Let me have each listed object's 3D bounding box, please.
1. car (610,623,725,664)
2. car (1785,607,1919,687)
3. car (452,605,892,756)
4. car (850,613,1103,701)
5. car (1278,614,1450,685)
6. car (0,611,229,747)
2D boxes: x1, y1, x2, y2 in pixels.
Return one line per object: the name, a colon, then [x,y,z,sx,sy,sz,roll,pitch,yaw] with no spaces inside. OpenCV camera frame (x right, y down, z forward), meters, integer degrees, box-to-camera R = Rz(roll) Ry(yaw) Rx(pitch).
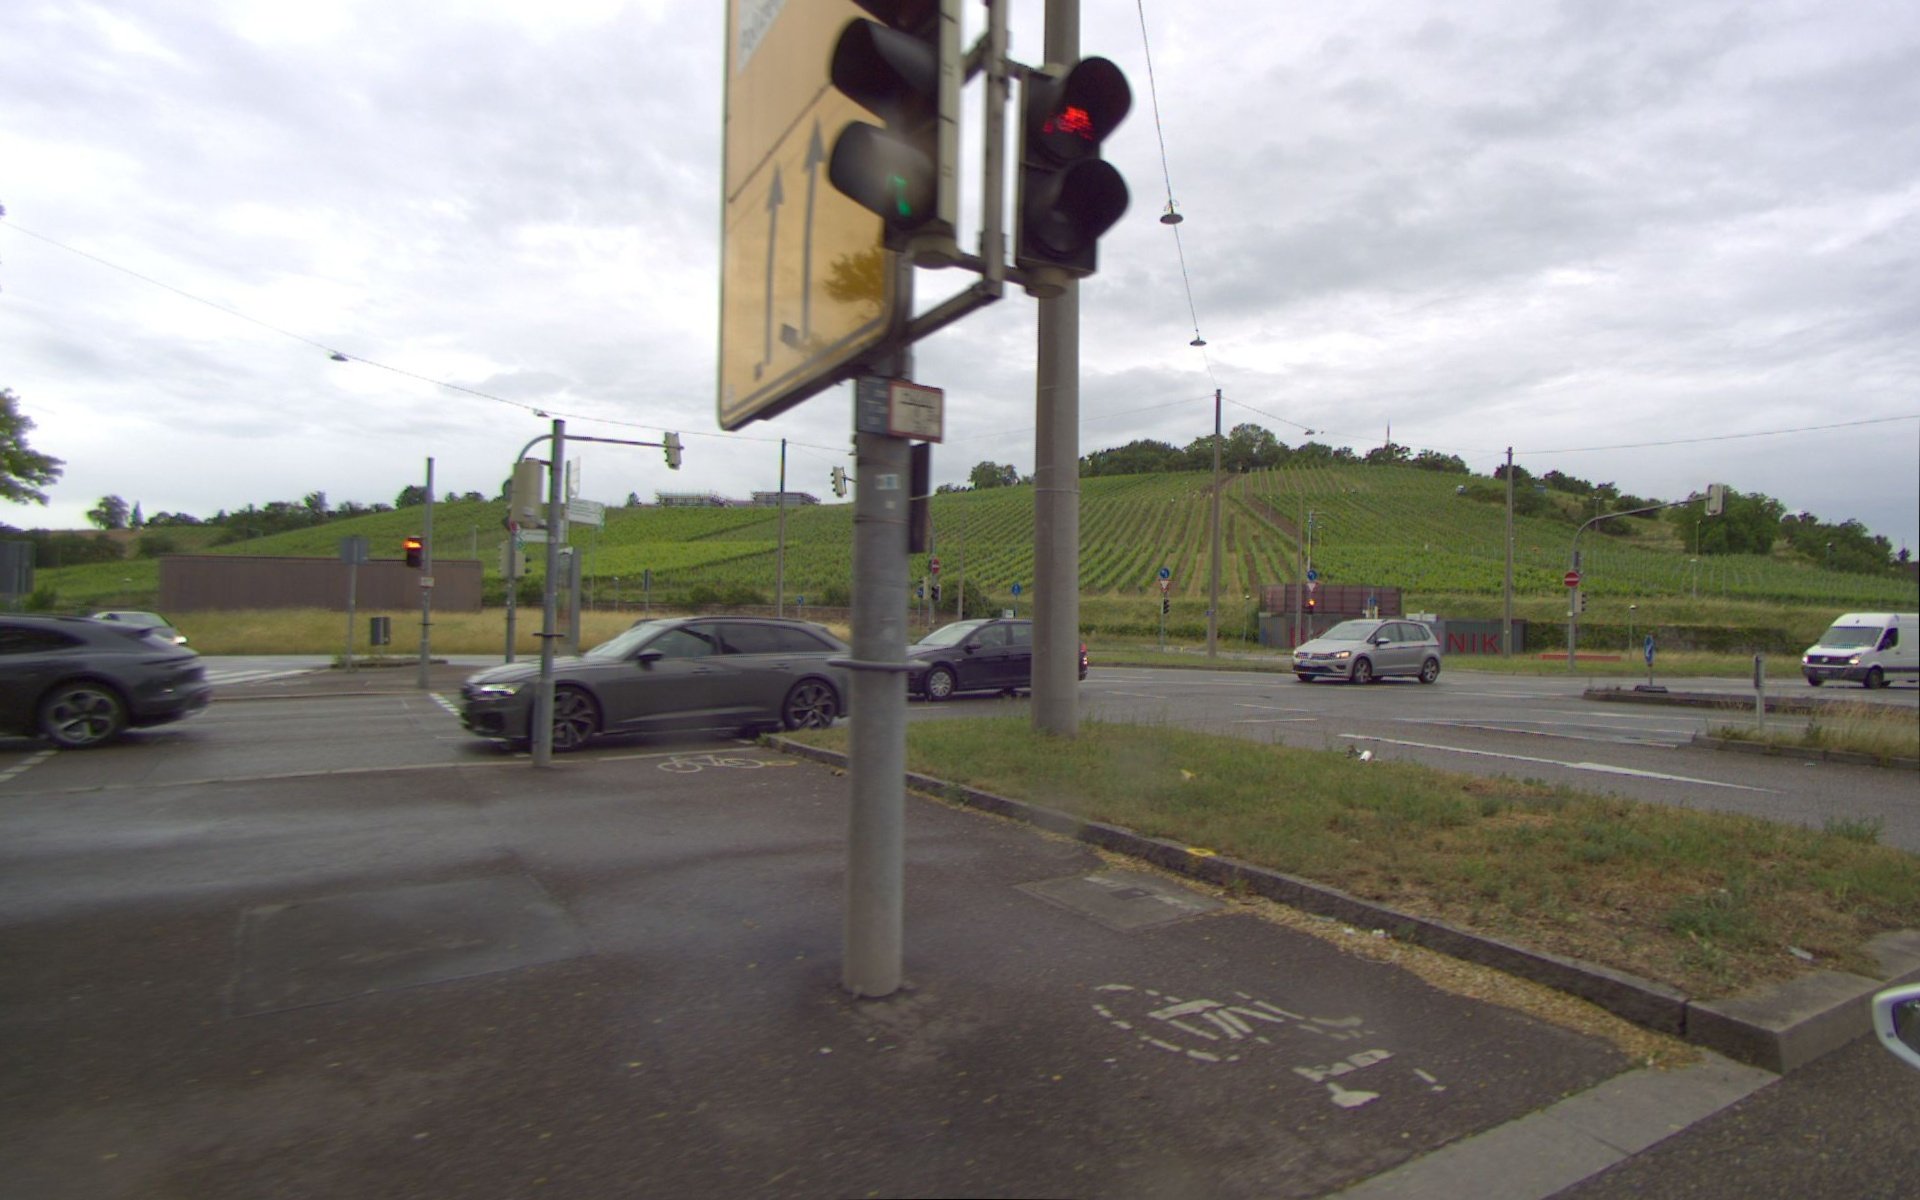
car: [-11.360,1.656,39.091,3.920,1.306,1.800,3,1,16]
car: [32.690,1.702,35.791,6.071,2.593,1.992,3,1,-17]
car: [-3.399,0.864,12.287,4.841,1.509,1.889,1,-1,-34]
car: [0.386,1.025,19.130,4.620,1.492,1.813,1,-1,-34]
car: [10.049,1.217,24.892,4.153,1.596,1.981,3,-1,-35]
car: [-10.768,0.811,10.769,4.620,1.381,1.813,1,-1,-34]
